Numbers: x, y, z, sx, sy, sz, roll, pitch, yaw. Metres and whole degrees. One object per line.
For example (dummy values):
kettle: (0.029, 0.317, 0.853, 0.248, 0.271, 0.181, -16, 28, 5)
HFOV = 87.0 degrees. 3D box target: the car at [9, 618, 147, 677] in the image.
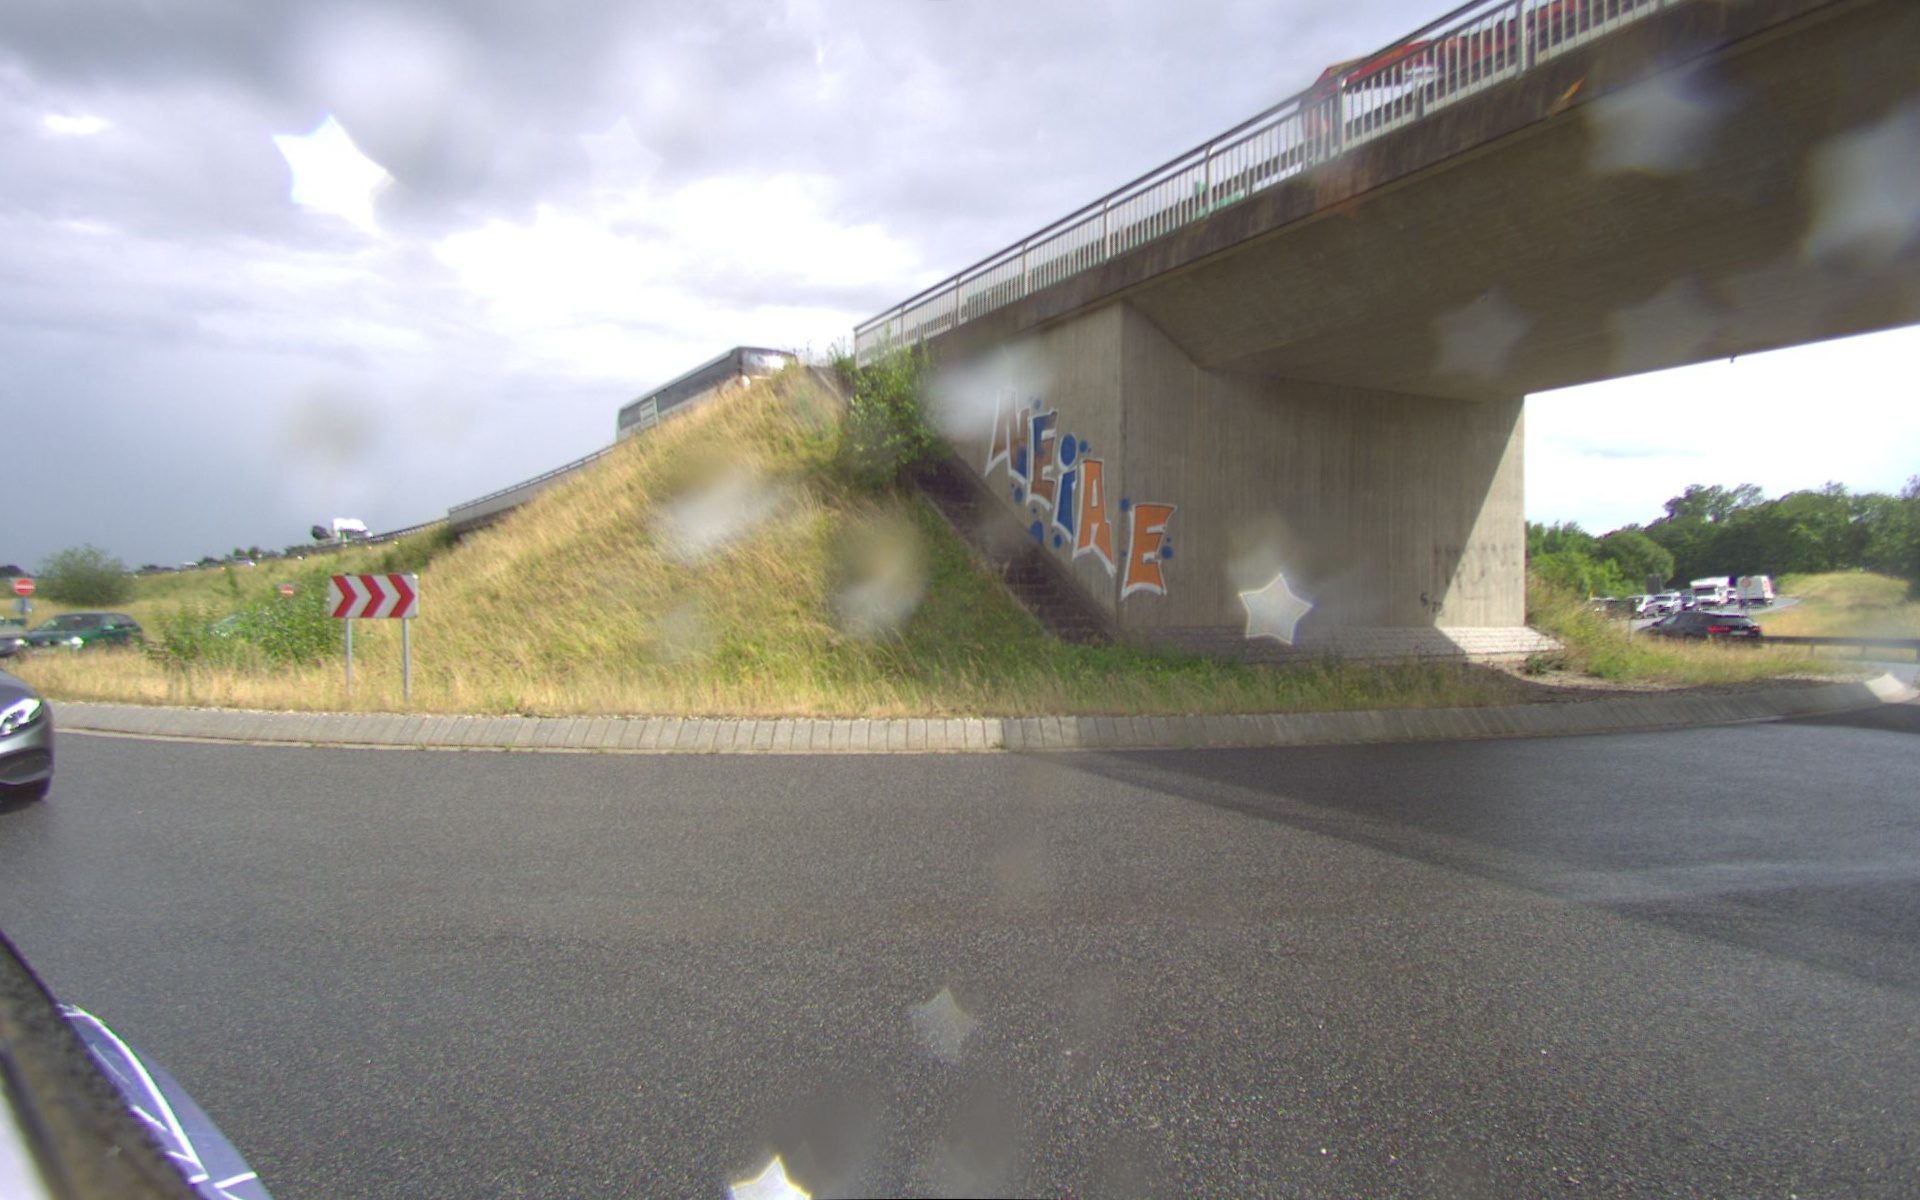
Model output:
car: (-23.765, 1.235, 27.441, 1.744, 1.496, 3.846, 0, -1, -24)

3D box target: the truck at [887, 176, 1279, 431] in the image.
truck: (2.077, -6.146, 23.164, 2.170, 2.895, 10.852, -1, 1, -35)

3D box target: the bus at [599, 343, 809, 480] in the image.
bus: (-10.823, -7.150, 40.809, 2.571, 3.102, 14.494, -1, 1, -38)

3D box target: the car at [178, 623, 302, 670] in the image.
car: (-25.006, 1.584, 35.320, 1.550, 1.548, 3.929, 0, -1, -1)

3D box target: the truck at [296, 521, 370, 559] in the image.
truck: (-62.501, -5.904, 100.833, 9.264, 3.218, 3.122, -1, 1, 37)

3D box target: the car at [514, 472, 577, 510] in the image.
car: (-23.460, -6.136, 57.181, 1.689, 1.536, 4.500, -14, 9, -40)

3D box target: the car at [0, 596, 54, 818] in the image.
car: (-8.326, 0.768, 7.213, 4.579, 1.402, 1.751, -3, -1, 34)

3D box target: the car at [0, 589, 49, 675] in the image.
car: (-22.623, 0.759, 22.600, 1.861, 1.929, 5.701, -1, 1, -26)
